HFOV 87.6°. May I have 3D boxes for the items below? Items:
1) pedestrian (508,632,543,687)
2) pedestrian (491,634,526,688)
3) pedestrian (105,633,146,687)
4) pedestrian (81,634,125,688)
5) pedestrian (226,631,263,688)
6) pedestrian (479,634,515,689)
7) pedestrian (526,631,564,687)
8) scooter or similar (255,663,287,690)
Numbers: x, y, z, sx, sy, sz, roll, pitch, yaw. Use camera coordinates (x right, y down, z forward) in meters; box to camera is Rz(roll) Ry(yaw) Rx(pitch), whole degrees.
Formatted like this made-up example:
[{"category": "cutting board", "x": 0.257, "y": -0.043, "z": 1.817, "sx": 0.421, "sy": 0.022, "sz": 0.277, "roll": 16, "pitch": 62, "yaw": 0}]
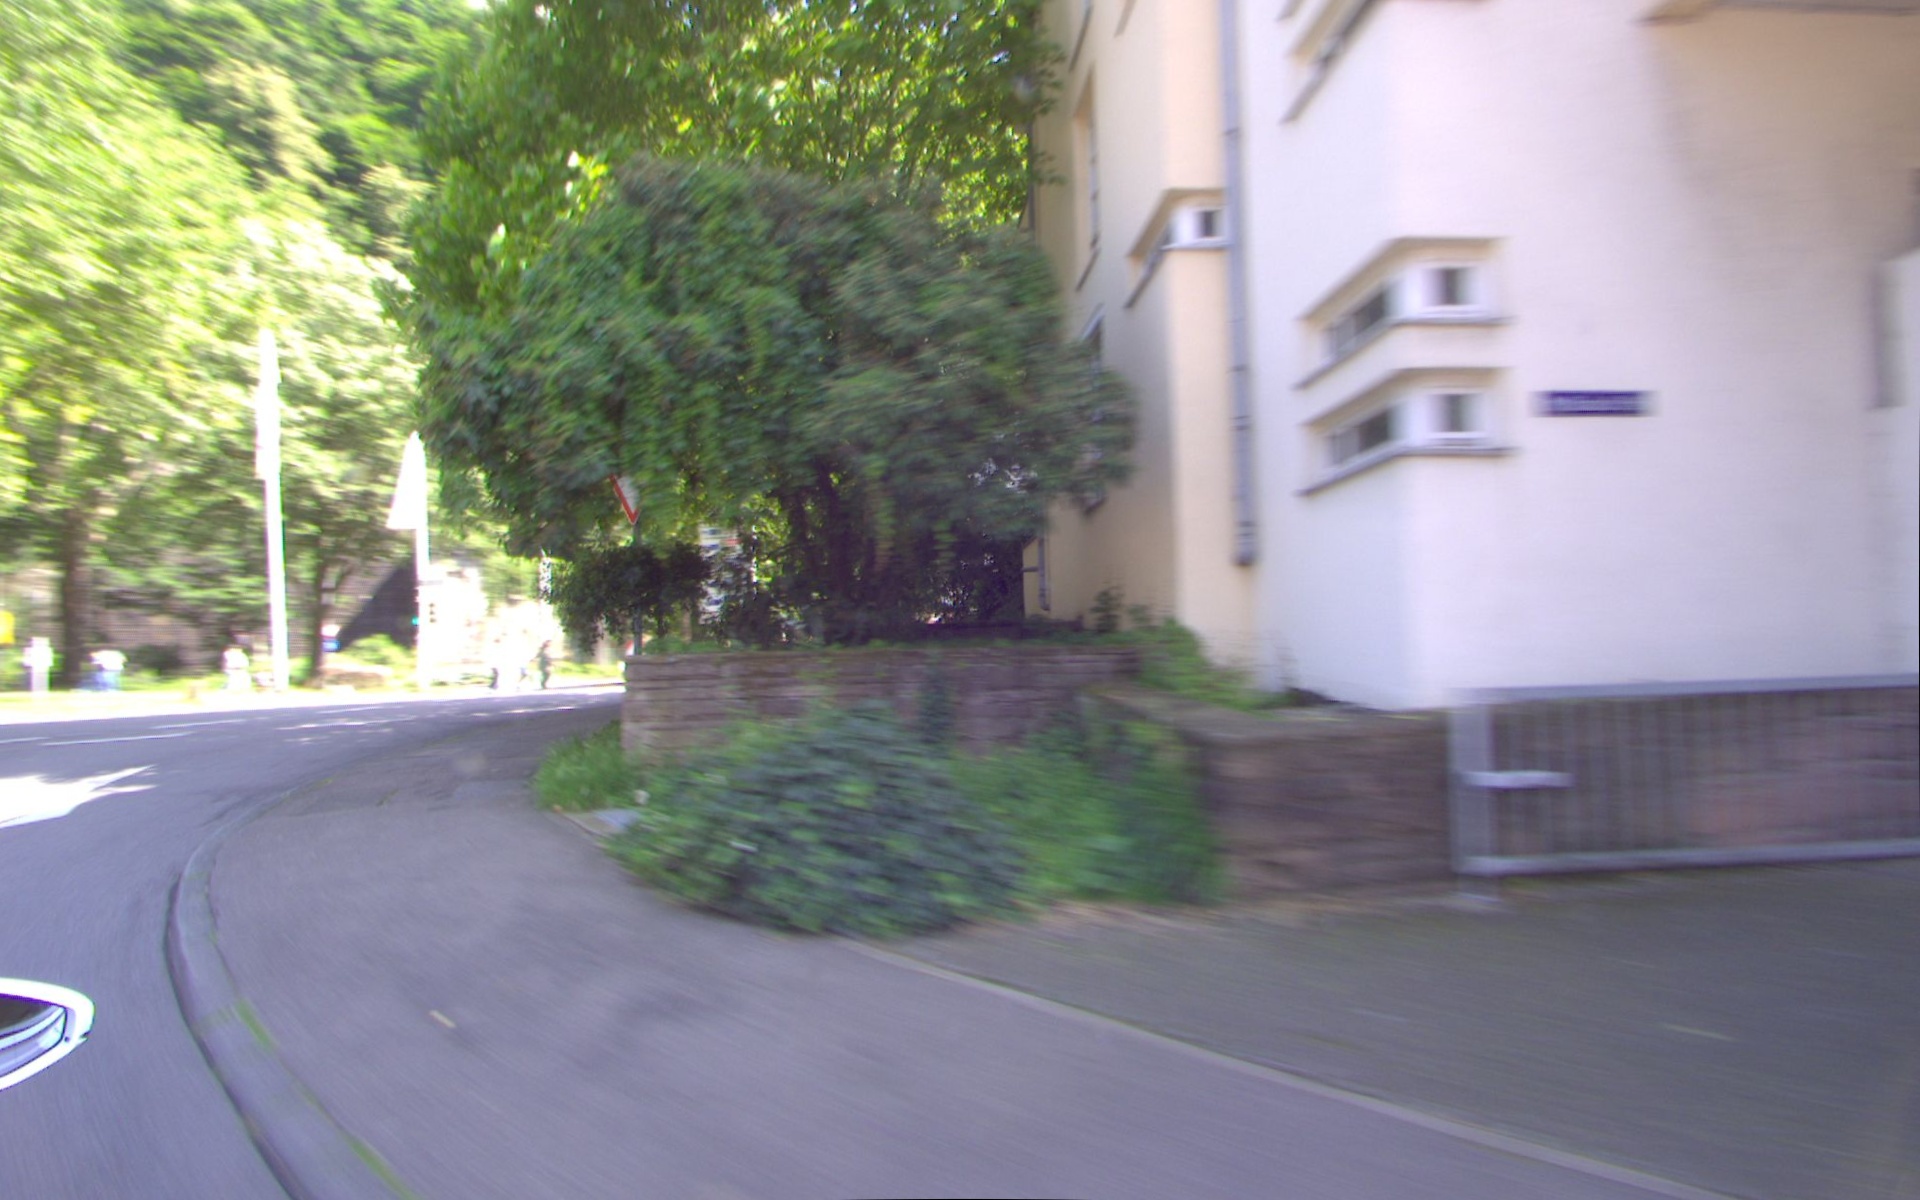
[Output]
[{"category": "pedestrian", "x": -14.282, "y": 1.960, "z": 32.913, "sx": 0.747, "sy": 1.777, "sz": 0.765, "roll": 0, "pitch": -3, "yaw": 4}, {"category": "pedestrian", "x": -15.228, "y": 2.069, "z": 33.794, "sx": 0.747, "sy": 1.777, "sz": 0.765, "roll": 0, "pitch": -3, "yaw": 4}, {"category": "pedestrian", "x": -28.127, "y": 2.034, "z": 33.758, "sx": 0.652, "sy": 1.777, "sz": 0.796, "roll": 0, "pitch": -3, "yaw": 3}, {"category": "pedestrian", "x": -28.177, "y": 2.010, "z": 32.939, "sx": 0.652, "sy": 1.777, "sz": 0.796, "roll": 0, "pitch": -3, "yaw": 4}, {"category": "pedestrian", "x": -22.766, "y": 1.868, "z": 31.875, "sx": 0.749, "sy": 1.778, "sz": 0.763, "roll": 0, "pitch": -1, "yaw": -20}, {"category": "pedestrian", "x": -15.253, "y": 2.029, "z": 33.003, "sx": 0.747, "sy": 1.777, "sz": 0.765, "roll": 0, "pitch": -3, "yaw": 4}, {"category": "pedestrian", "x": -13.464, "y": 1.912, "z": 32.502, "sx": 0.850, "sy": 1.777, "sz": 0.803, "roll": 0, "pitch": -3, "yaw": 4}, {"category": "scooter or similar", "x": -22.081, "y": 2.436, "z": 32.085, "sx": 0.721, "sy": 0.823, "sz": 0.568, "roll": 0, "pitch": -1, "yaw": -20}]
